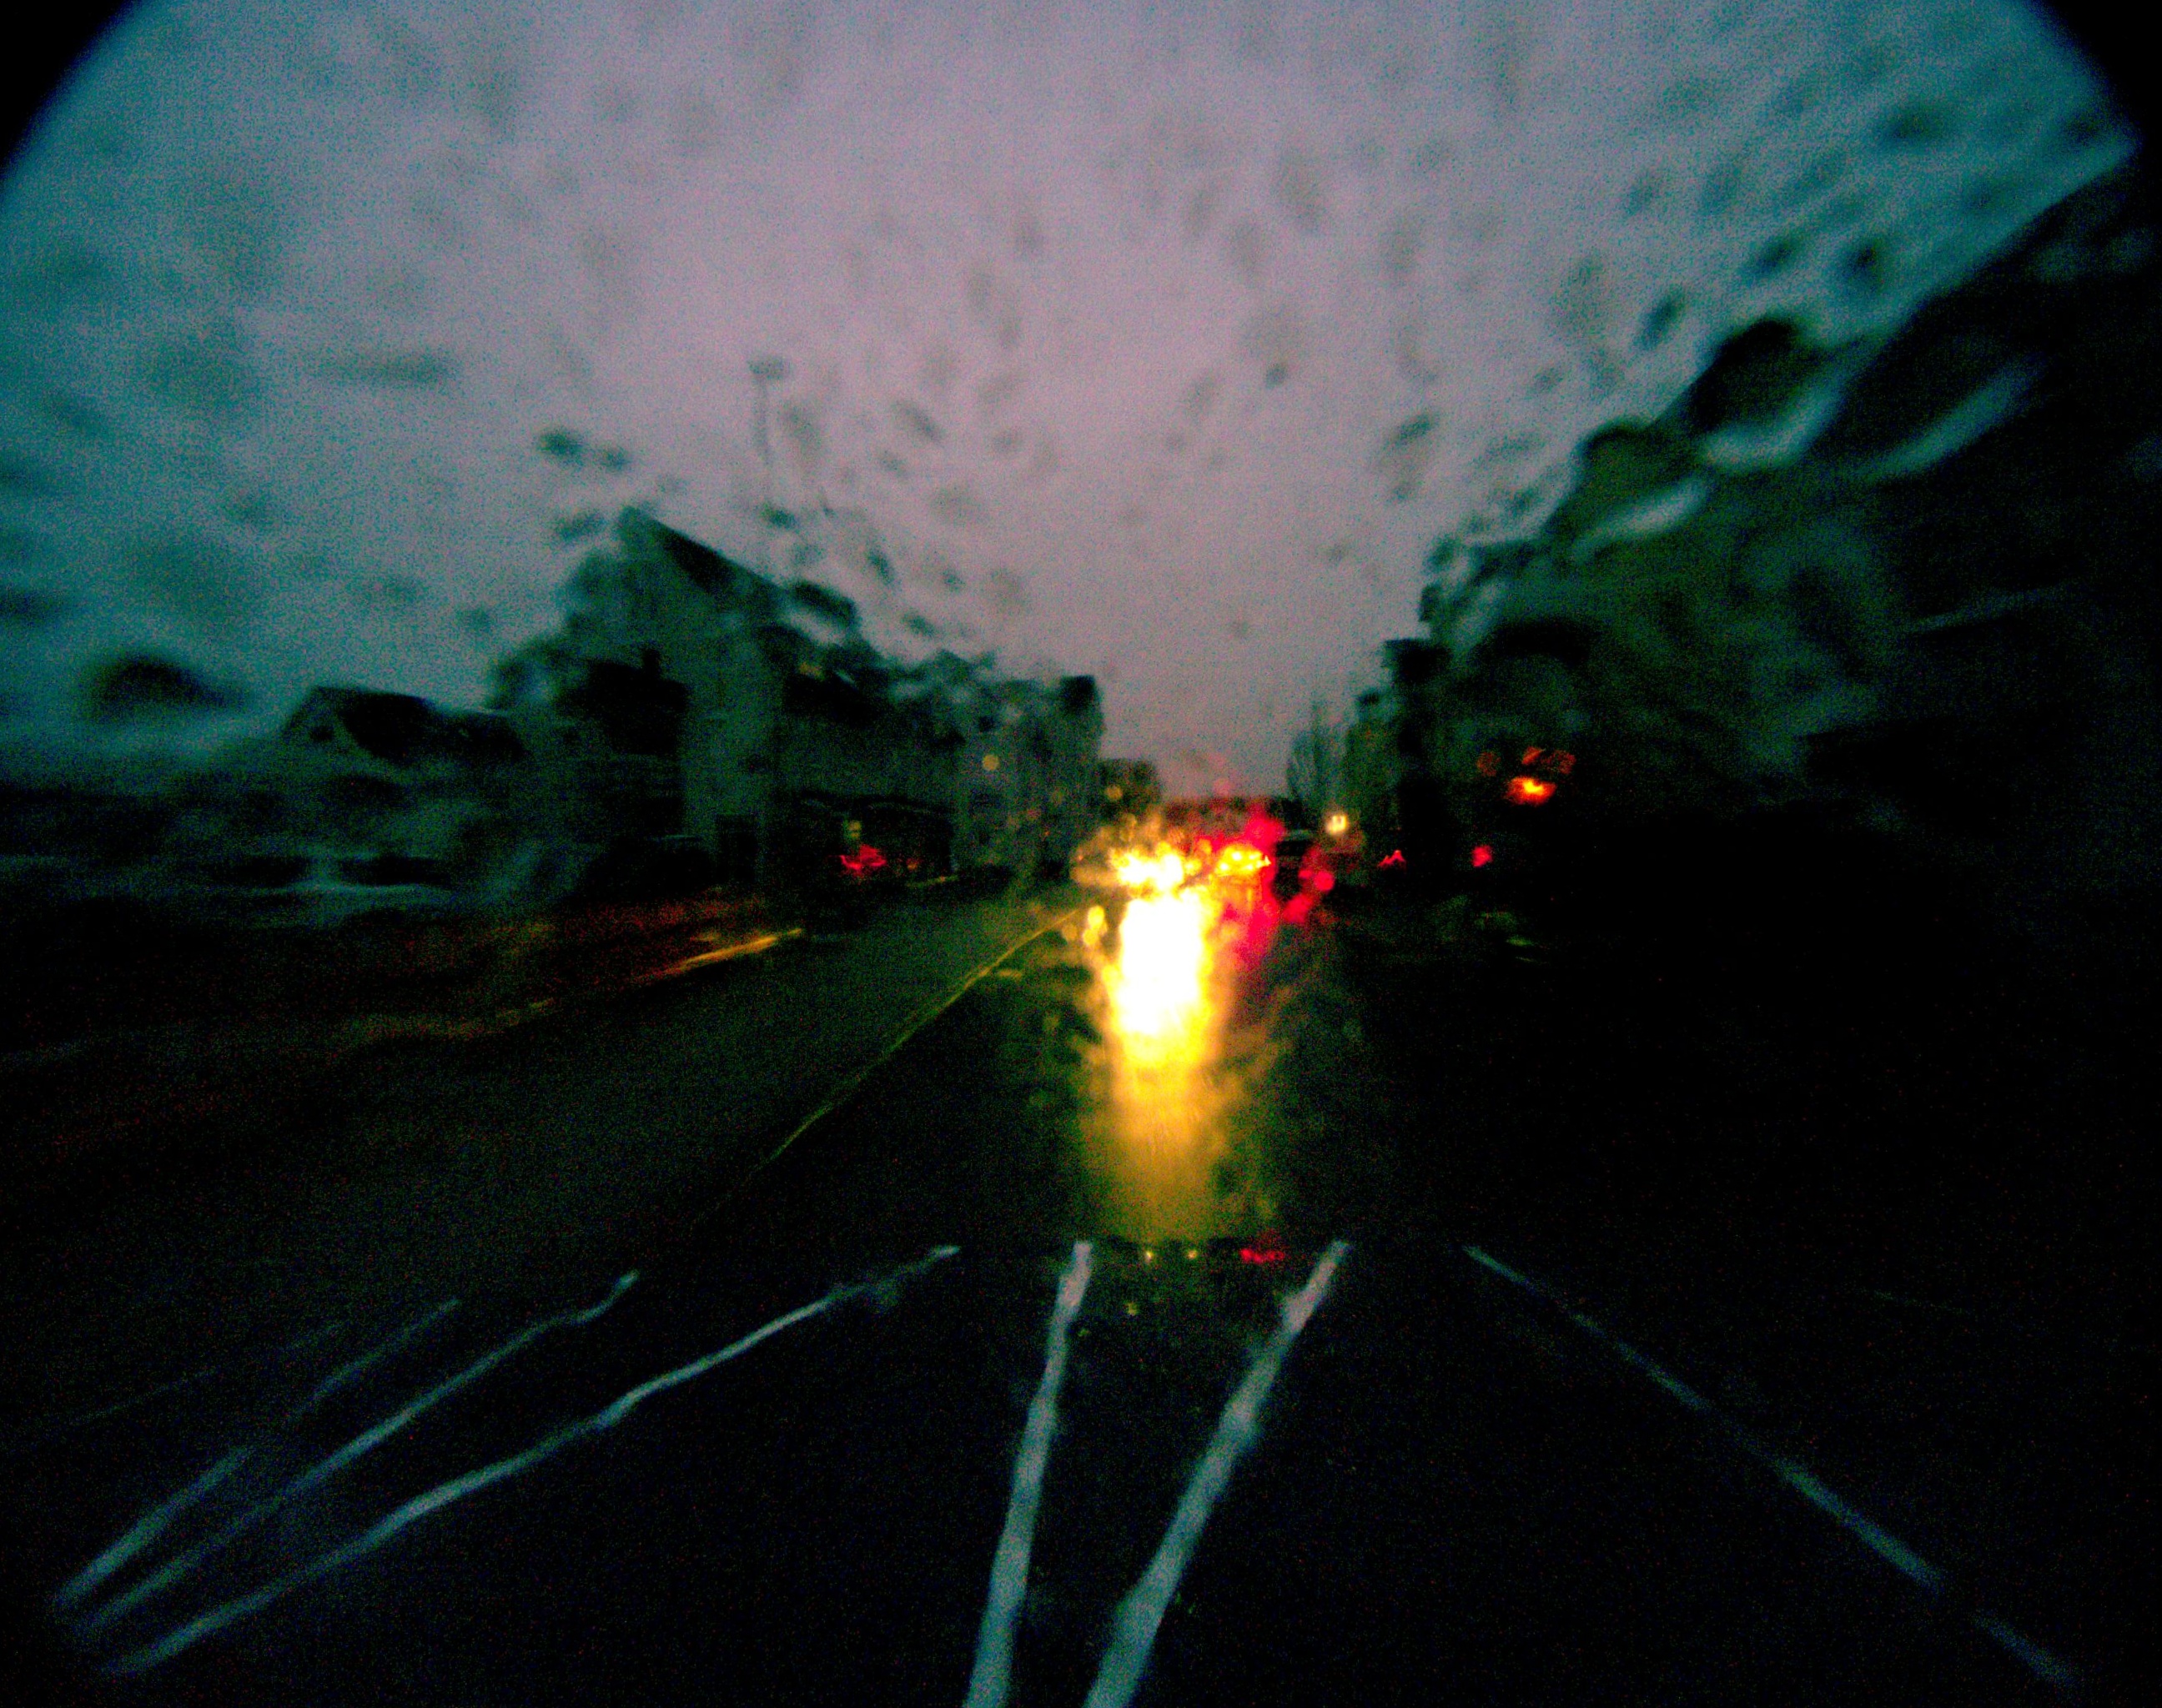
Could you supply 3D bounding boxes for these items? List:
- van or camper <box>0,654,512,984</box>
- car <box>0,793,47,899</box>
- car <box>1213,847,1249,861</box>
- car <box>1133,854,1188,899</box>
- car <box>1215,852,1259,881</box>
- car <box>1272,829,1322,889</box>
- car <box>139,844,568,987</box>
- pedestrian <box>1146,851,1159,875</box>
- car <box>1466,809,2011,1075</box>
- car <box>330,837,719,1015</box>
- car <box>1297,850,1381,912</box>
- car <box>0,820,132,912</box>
[{"bbox_3d":[-12.568,-0.406,11.431,2.437,3.489,7.123,3,0,1],"label":"van or camper"},{"bbox_3d":[-21.280,-0.206,12.752,1.783,1.961,4.249,3,0,13],"label":"car"},{"bbox_3d":[18.895,0.027,95.752,3.988,1.637,1.865,2,0,29],"label":"car"},{"bbox_3d":[3.184,0.843,29.909,1.877,1.622,4.003,-1,0,9],"label":"car"},{"bbox_3d":[8.666,0.671,41.921,1.996,1.491,4.005,0,0,17],"label":"car"},{"bbox_3d":[10.368,0.205,36.743,2.044,2.644,4.214,-3,0,14],"label":"car"},{"bbox_3d":[-9.680,0.696,10.723,1.785,1.533,4.245,3,0,3],"label":"car"},{"bbox_3d":[5.085,0.627,54.026,0.651,1.651,0.648,2,0,-43],"label":"pedestrian"},{"bbox_3d":[5.965,0.675,7.931,1.883,1.889,4.837,-2,-1,7],"label":"car"},{"bbox_3d":[-6.724,0.739,9.906,1.785,1.811,4.245,0,0,3],"label":"car"},{"bbox_3d":[7.949,0.766,23.789,1.938,1.660,4.345,-3,0,12],"label":"car"},{"bbox_3d":[-18.868,0.162,12.271,1.796,1.501,4.005,3,0,13],"label":"car"}]
